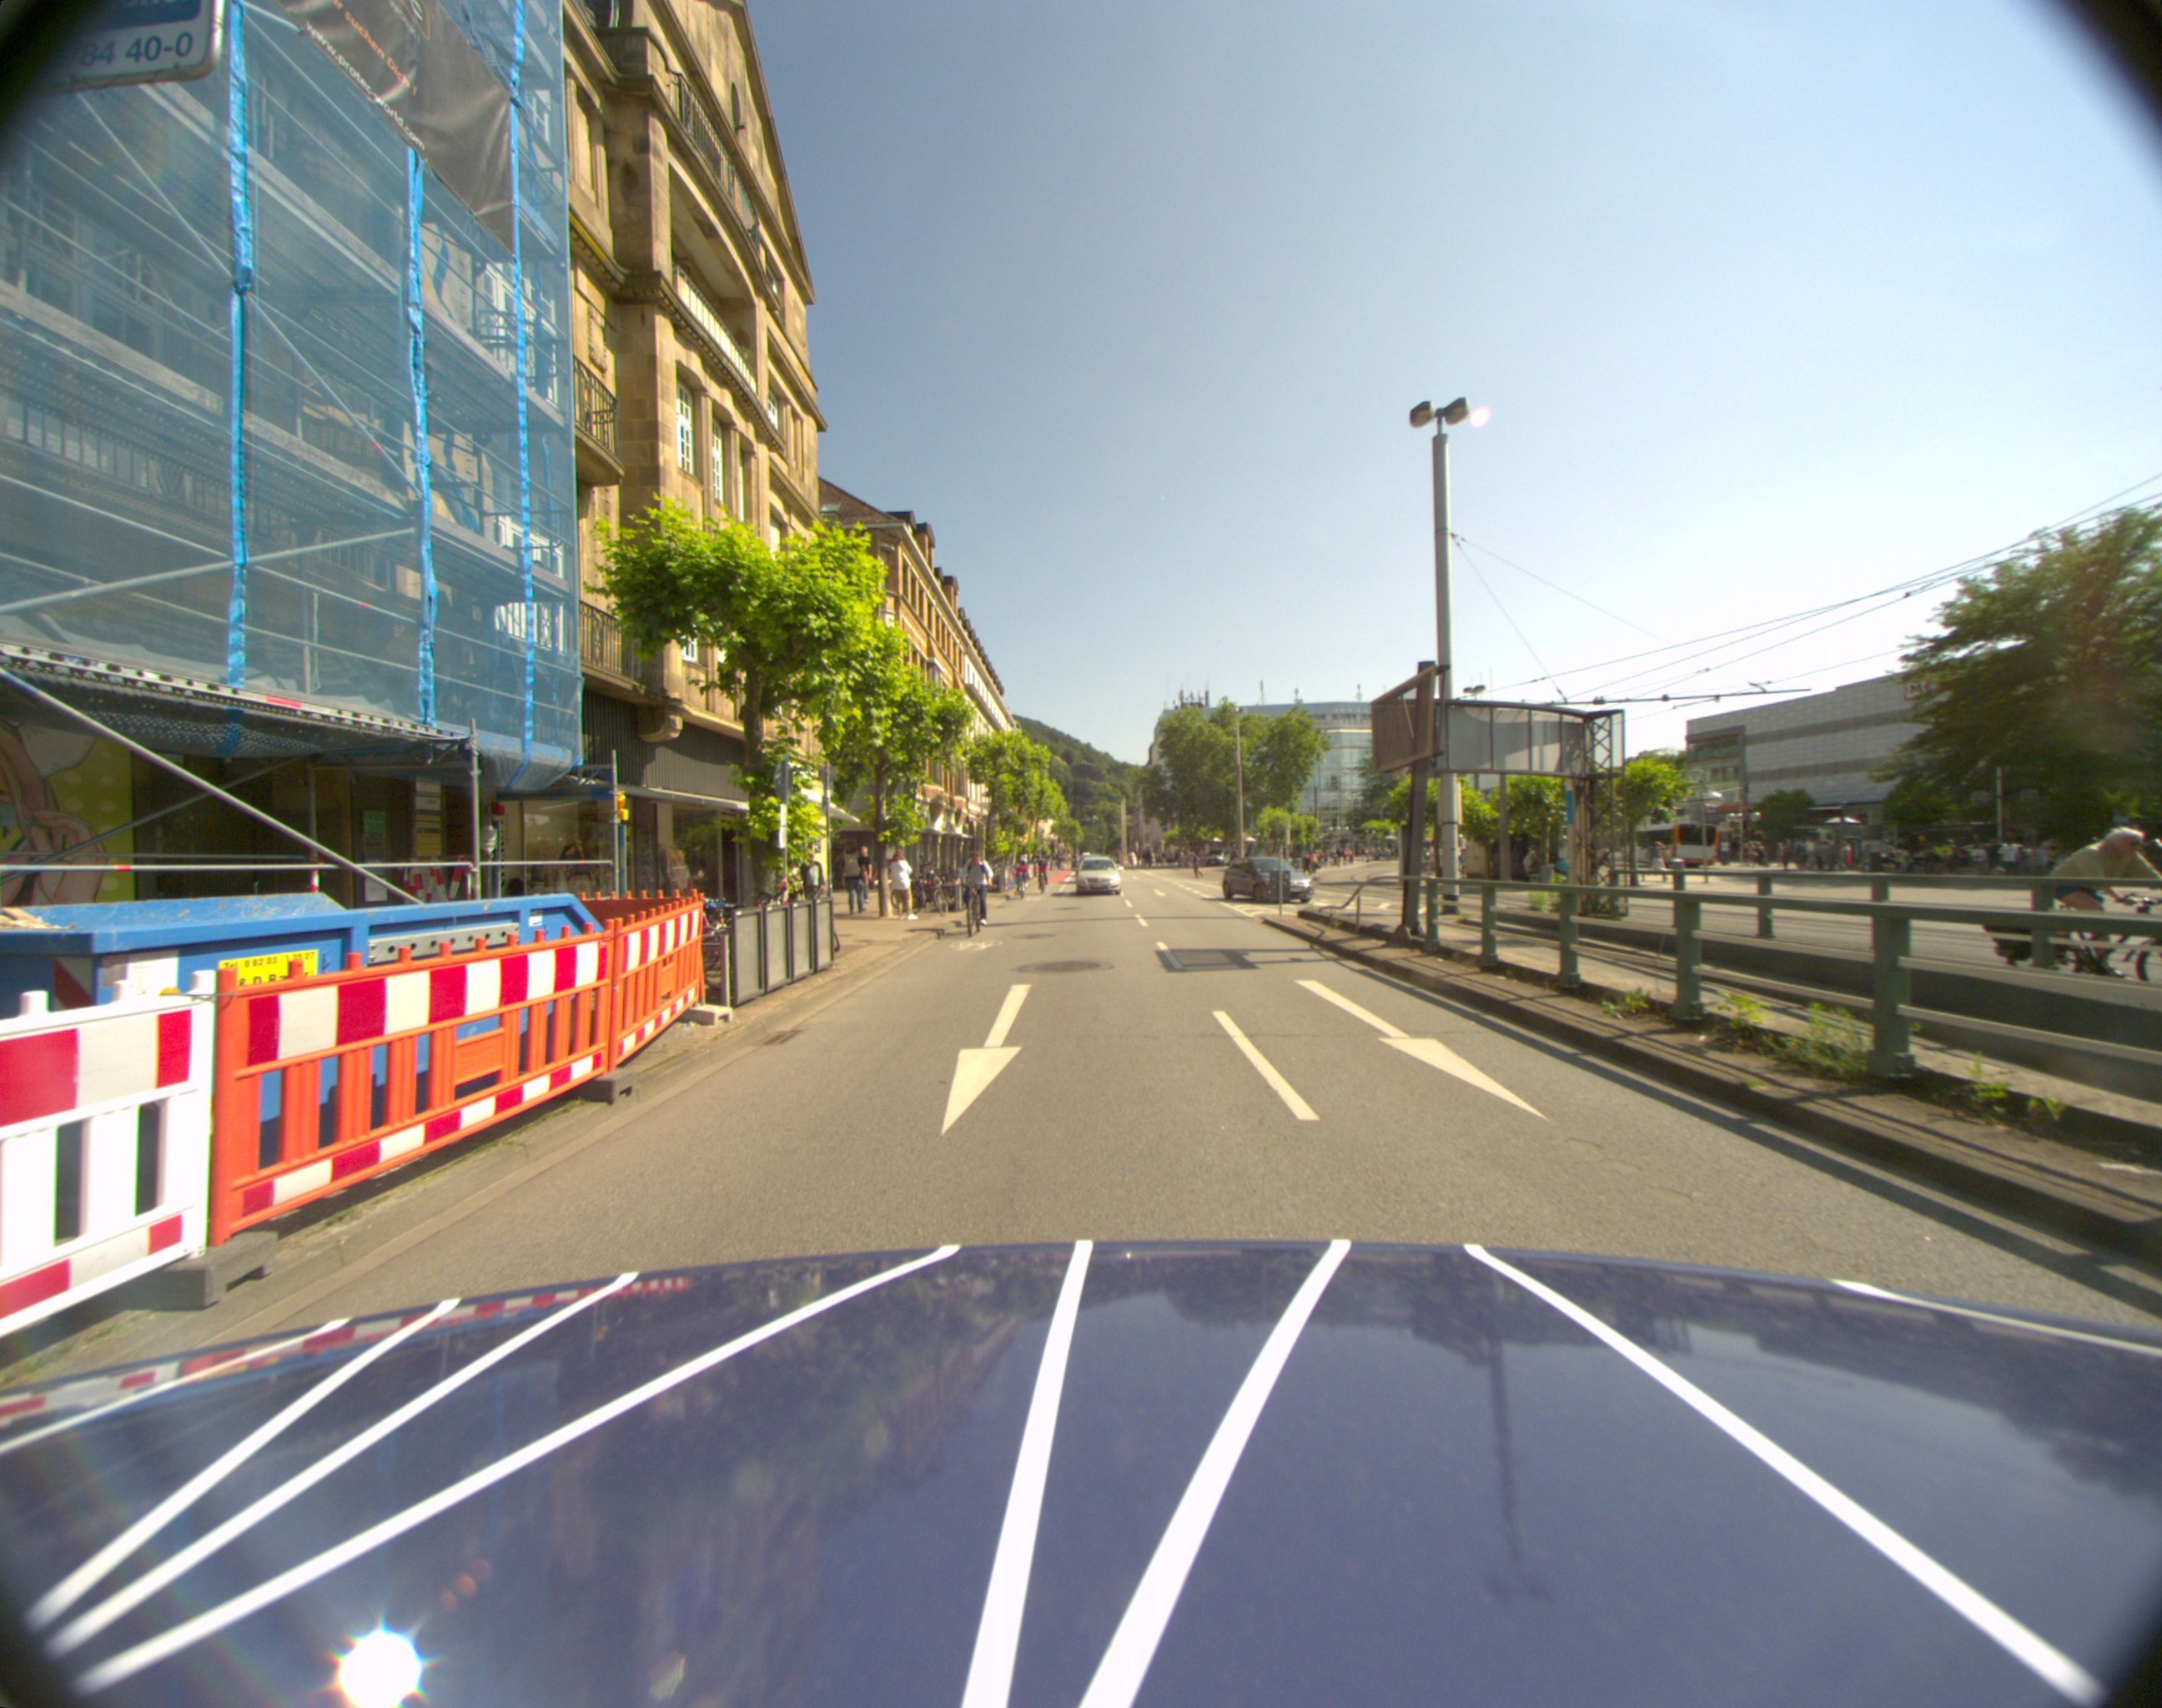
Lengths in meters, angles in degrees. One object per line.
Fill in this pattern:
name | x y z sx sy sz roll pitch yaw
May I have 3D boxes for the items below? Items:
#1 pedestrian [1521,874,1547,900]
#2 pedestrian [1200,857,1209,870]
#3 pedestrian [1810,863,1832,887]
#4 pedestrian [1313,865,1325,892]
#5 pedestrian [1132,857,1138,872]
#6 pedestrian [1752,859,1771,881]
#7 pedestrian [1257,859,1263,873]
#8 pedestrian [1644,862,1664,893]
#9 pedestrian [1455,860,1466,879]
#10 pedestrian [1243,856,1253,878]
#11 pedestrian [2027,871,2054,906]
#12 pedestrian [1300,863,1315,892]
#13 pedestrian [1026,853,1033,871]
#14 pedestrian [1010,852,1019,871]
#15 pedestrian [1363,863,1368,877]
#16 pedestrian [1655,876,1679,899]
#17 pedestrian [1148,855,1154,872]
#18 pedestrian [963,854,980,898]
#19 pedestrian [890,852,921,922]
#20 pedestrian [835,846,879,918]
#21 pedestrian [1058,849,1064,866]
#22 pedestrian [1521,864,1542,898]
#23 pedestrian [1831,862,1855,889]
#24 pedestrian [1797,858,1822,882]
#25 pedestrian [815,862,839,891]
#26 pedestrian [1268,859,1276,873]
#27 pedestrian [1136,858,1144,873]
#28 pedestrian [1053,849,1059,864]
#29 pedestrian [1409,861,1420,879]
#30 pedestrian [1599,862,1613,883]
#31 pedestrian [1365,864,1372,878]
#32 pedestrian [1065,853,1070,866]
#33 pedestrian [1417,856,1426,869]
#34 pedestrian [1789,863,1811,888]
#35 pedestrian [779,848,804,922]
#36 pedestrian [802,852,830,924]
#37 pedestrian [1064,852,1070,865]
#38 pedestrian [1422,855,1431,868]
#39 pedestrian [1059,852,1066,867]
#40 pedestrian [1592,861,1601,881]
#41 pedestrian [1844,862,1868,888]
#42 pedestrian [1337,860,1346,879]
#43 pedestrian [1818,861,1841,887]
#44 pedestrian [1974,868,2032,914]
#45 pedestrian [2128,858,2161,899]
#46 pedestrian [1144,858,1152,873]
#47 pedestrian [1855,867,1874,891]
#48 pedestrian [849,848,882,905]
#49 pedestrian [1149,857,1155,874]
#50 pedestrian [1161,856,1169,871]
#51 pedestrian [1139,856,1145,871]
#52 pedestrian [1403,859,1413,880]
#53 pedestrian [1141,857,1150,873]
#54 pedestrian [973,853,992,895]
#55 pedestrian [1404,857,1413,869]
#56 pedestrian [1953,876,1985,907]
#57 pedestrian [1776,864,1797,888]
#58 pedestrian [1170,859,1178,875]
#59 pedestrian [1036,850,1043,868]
pedestrian | 20.840 1.533 34.972 0.677 1.164 0.752 1 0 -5
pedestrian | 13.880 1.070 85.427 0.752 1.399 0.782 -3 1 -9
pedestrian | 44.822 1.265 46.007 0.625 1.457 0.680 1 0 -4
pedestrian | 14.219 1.442 45.400 0.525 1.600 0.627 1 0 10
pedestrian | 7.126 1.426 100.018 0.639 1.903 0.733 -3 1 -1
pedestrian | 45.868 1.082 51.205 0.624 1.457 0.681 1 0 4
pedestrian | 22.999 1.552 97.683 0.638 1.683 0.753 -3 1 23
pedestrian | 30.017 1.234 39.796 0.608 1.598 0.549 1 0 3
pedestrian | 35.824 1.439 71.782 0.626 1.784 0.679 1 0 -21
pedestrian | 15.367 1.169 69.788 0.693 1.996 0.564 -2 1 -8
pedestrian | 35.008 1.271 27.730 0.404 1.256 0.481 1 0 -18
pedestrian | 13.549 1.391 45.430 0.527 1.723 0.586 1 0 -29
pedestrian | -5.369 0.823 79.269 0.635 1.782 0.776 -3 1 -1
pedestrian | -6.195 0.684 70.688 0.658 1.686 0.676 -3 1 2
pedestrian | 30.373 1.696 81.136 0.474 1.540 0.493 1 0 26
pedestrian | 26.387 1.499 34.237 0.635 0.995 0.580 1 0 3
pedestrian | 8.011 1.092 87.453 0.595 1.835 0.738 0 1 -1
pedestrian | -4.085 0.805 28.375 0.601 1.617 0.644 1 1 -6
pedestrian | -4.273 0.793 18.574 0.658 1.673 0.652 -1 2 -10
pedestrian | -5.831 0.707 19.818 0.816 1.838 0.892 0 1 8
pedestrian | -2.229 0.398 84.620 0.578 1.835 0.717 -3 1 -2
pedestrian | 21.631 1.313 36.500 0.577 1.600 0.602 1 0 -28
pedestrian | 42.623 1.197 42.502 0.624 1.457 0.681 1 0 5
pedestrian | 45.025 0.958 46.949 0.789 1.457 0.742 1 0 -4
pedestrian | -11.475 1.012 34.354 0.792 1.247 0.640 -3 1 5
pedestrian | 24.780 1.540 98.678 0.752 1.737 0.782 -3 1 -9
pedestrian | 7.304 1.415 94.466 0.876 1.737 0.733 -3 1 -1
pedestrian | -2.879 0.272 88.144 0.578 1.774 0.699 -2 1 -2
pedestrian | 26.871 1.313 61.232 0.626 1.457 0.552 1 0 -21
pedestrian | 37.712 1.319 54.552 0.526 1.457 0.588 1 0 -19
pedestrian | 30.858 1.845 81.571 0.477 1.540 0.451 1 0 -26
pedestrian | -1.889 0.791 104.355 0.650 1.770 0.622 1 2 4
pedestrian | 41.635 1.043 92.857 0.757 1.464 0.555 -3 1 0
pedestrian | 42.633 1.282 45.048 0.625 1.457 0.680 1 0 -4
pedestrian | -6.734 0.710 17.678 0.477 1.673 0.381 -1 1 -31
pedestrian | -6.268 0.794 17.975 0.538 1.673 0.498 -1 2 -32
pedestrian | -1.731 0.548 94.024 0.672 1.488 0.637 -3 1 -13
pedestrian | 42.637 0.934 93.826 0.757 1.464 0.555 -3 1 0
pedestrian | -2.254 0.671 92.800 0.605 1.726 0.647 -2 1 -12
pedestrian | 38.571 1.249 56.866 0.453 1.457 0.411 1 0 -34
pedestrian | 43.622 1.172 42.767 0.625 1.457 0.680 1 0 -4
pedestrian | 23.869 1.419 69.629 0.577 1.805 0.605 -1 0 0
pedestrian | 43.175 1.143 43.807 0.625 1.457 0.680 1 0 -4
pedestrian | 36.848 1.446 30.379 0.967 1.783 1.081 1 0 10
pedestrian | 41.329 0.944 29.426 0.743 1.589 0.618 1 0 -11
pedestrian | 7.433 1.267 84.451 0.630 1.639 0.753 -3 1 27
pedestrian | 42.508 1.362 41.241 0.518 1.255 0.453 1 0 5
pedestrian | -6.858 0.694 24.173 0.669 1.771 0.985 -1 1 5
pedestrian | 7.945 1.314 85.228 0.517 1.825 0.716 -3 1 9
pedestrian | 9.982 1.132 89.924 0.751 1.737 0.667 -3 1 -1
pedestrian | 7.194 1.085 89.930 0.612 1.737 0.752 -2 1 -1
pedestrian | 26.618 1.278 61.848 0.473 1.656 0.521 1 0 -21
pedestrian | 7.336 1.259 86.370 0.537 1.773 0.745 -2 1 36
pedestrian | -3.857 0.781 29.802 0.697 1.617 0.702 0 1 -4
pedestrian | 40.879 1.150 94.818 0.757 1.464 0.555 -3 1 0
pedestrian | 37.051 1.572 31.696 0.622 1.256 0.582 1 0 10
pedestrian | 42.759 1.332 46.077 0.625 1.457 0.680 1 0 -2
pedestrian | 9.922 1.349 81.249 0.643 1.682 0.642 -3 1 -12
pedestrian | -3.808 0.457 69.801 0.606 1.529 0.667 -3 1 -1
